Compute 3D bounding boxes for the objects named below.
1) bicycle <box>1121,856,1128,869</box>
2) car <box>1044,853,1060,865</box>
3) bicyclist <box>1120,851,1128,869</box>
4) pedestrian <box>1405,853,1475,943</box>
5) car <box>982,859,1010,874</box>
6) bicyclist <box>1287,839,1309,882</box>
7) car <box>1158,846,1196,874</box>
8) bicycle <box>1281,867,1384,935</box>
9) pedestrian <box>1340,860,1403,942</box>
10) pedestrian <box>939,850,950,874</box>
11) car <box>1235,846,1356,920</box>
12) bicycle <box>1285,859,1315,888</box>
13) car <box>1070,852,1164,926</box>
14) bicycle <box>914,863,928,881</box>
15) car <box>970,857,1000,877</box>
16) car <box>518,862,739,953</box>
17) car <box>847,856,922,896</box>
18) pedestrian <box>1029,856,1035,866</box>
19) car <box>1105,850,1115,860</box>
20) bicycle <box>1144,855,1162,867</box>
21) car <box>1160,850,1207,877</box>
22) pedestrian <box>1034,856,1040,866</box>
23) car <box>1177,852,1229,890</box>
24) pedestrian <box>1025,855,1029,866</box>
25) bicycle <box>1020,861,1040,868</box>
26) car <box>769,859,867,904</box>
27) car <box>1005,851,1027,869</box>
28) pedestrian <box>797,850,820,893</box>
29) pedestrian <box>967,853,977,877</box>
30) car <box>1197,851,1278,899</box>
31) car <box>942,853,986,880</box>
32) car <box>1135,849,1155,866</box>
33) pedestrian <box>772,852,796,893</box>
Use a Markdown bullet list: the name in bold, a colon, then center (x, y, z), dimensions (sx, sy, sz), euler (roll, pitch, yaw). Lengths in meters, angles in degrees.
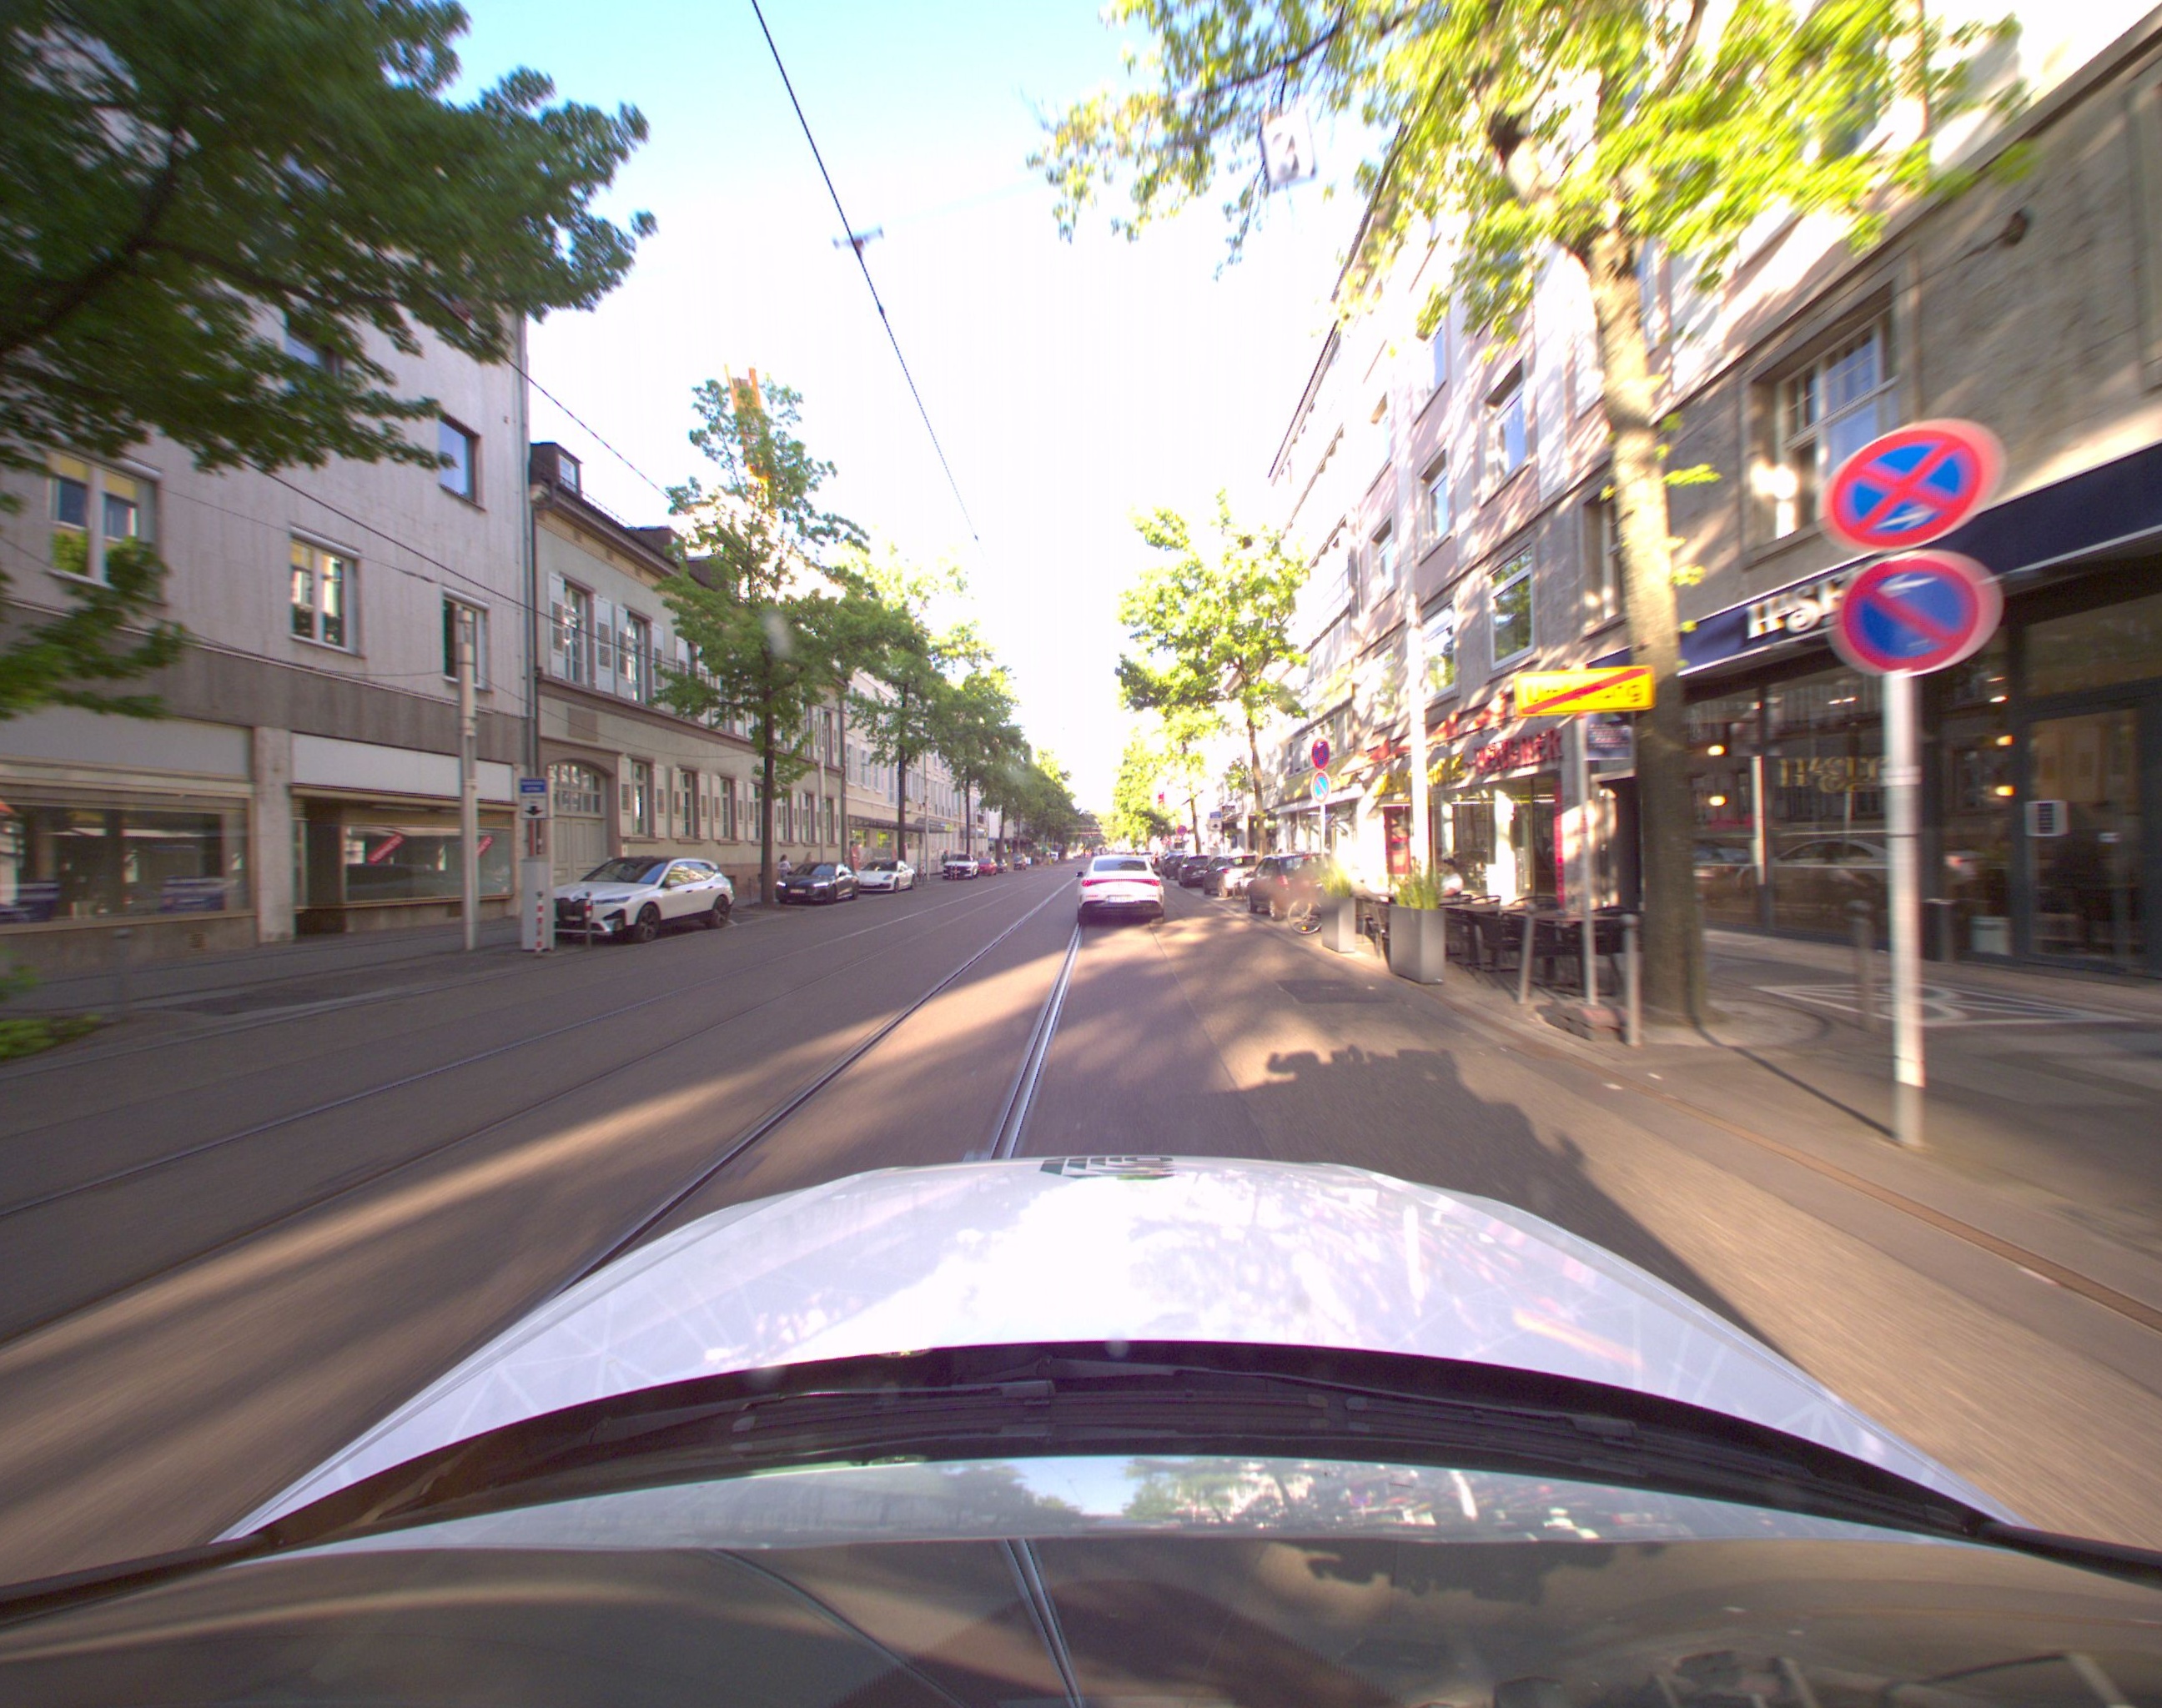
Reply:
- **bicycle**: center (4.399, 0.851, 82.564), dimensions (0.737, 1.188, 2.162), euler (-2, 0, 3)
- **car**: center (-5.328, 0.918, 149.929), dimensions (1.981, 2.013, 4.011), euler (-2, 0, 10)
- **bicyclist**: center (4.386, 0.600, 82.378), dimensions (0.722, 1.702, 0.811), euler (-2, -1, 2)
- **pedestrian**: center (5.841, 0.703, 13.269), dimensions (0.713, 1.387, 0.739), euler (-2, 0, -36)
- **car**: center (-7.740, 1.104, 74.102), dimensions (1.986, 1.292, 4.001), euler (-2, 0, 2)
- **bicyclist**: center (8.715, 0.240, 32.728), dimensions (0.637, 1.684, 0.599), euler (-3, 0, 0)
- **car**: center (6.284, 0.366, 53.896), dimensions (1.986, 1.713, 4.868), euler (-2, 0, 2)
- **bicycle**: center (4.651, 0.868, 15.062), dimensions (1.711, 1.138, 0.549), euler (-4, -1, 22)
- **pedestrian**: center (4.669, 0.749, 13.118), dimensions (0.813, 1.265, 0.587), euler (-2, 0, 7)
- **pedestrian**: center (-10.834, 0.634, 64.553), dimensions (0.706, 1.806, 0.675), euler (-2, 0, -4)
- **car**: center (4.928, 0.635, 19.251), dimensions (1.795, 1.458, 3.653), euler (-4, 0, -1)
- **bicycle**: center (8.752, 0.768, 32.587), dimensions (0.645, 1.074, 1.861), euler (-3, 0, 0)
- **car**: center (0.784, 0.718, 18.321), dimensions (1.861, 1.469, 4.044), euler (0, -1, 2)
- **bicycle**: center (-9.582, 1.071, 48.856), dimensions (0.592, 1.050, 2.005), euler (-2, 0, -5)
- **car**: center (-7.658, 1.000, 65.416), dimensions (1.682, 1.499, 4.237), euler (-2, 0, 3)
- **car**: center (-9.562, 1.034, 17.799), dimensions (1.954, 1.640, 4.815), euler (1, 0, 2)
- **car**: center (-8.839, 0.957, 37.074), dimensions (1.938, 1.640, 4.913), euler (-1, 0, 3)
- **pedestrian**: center (-7.039, 1.026, 116.806), dimensions (0.564, 1.464, 0.653), euler (-2, 0, 21)
- **car**: center (7.115, 0.217, 201.307), dimensions (1.989, 2.541, 3.995), euler (-2, -1, -3)
- **bicycle**: center (7.077, 0.659, 79.683), dimensions (1.714, 1.062, 0.581), euler (-2, 0, 4)
- **car**: center (5.792, 0.524, 46.278), dimensions (1.834, 1.436, 3.993), euler (-2, 0, -5)
- **pedestrian**: center (-6.344, 0.994, 118.286), dimensions (0.519, 1.478, 0.644), euler (-4, -1, -26)
- **car**: center (5.345, 0.701, 36.097), dimensions (1.863, 1.453, 4.110), euler (-4, 0, 4)
- **pedestrian**: center (-8.063, 0.930, 121.523), dimensions (0.515, 1.653, 0.650), euler (-2, 0, 2)
- **bicycle**: center (-6.023, 1.248, 96.625), dimensions (2.232, 0.830, 0.721), euler (-2, 0, 24)
- **car**: center (-9.246, 0.913, 29.125), dimensions (1.956, 1.412, 4.844), euler (-2, 0, -1)
- **car**: center (-6.967, 0.644, 87.073), dimensions (1.543, 1.796, 3.176), euler (-2, 0, 10)
- **pedestrian**: center (-11.151, 0.722, 33.320), dimensions (0.683, 1.721, 0.656), euler (-1, 0, 2)
- **pedestrian**: center (-9.472, 0.963, 70.791), dimensions (0.705, 2.004, 0.675), euler (-2, 0, -2)
- **car**: center (5.343, 0.695, 28.330), dimensions (1.810, 1.486, 3.995), euler (-2, 0, -3)
- **car**: center (-7.881, 0.793, 55.430), dimensions (1.954, 1.692, 5.016), euler (-2, 0, 3)
- **car**: center (7.144, 0.404, 90.657), dimensions (1.986, 1.728, 4.243), euler (-2, 0, 2)
- **pedestrian**: center (-12.286, 0.750, 33.687), dimensions (0.672, 1.680, 0.648), euler (-2, 0, 1)
